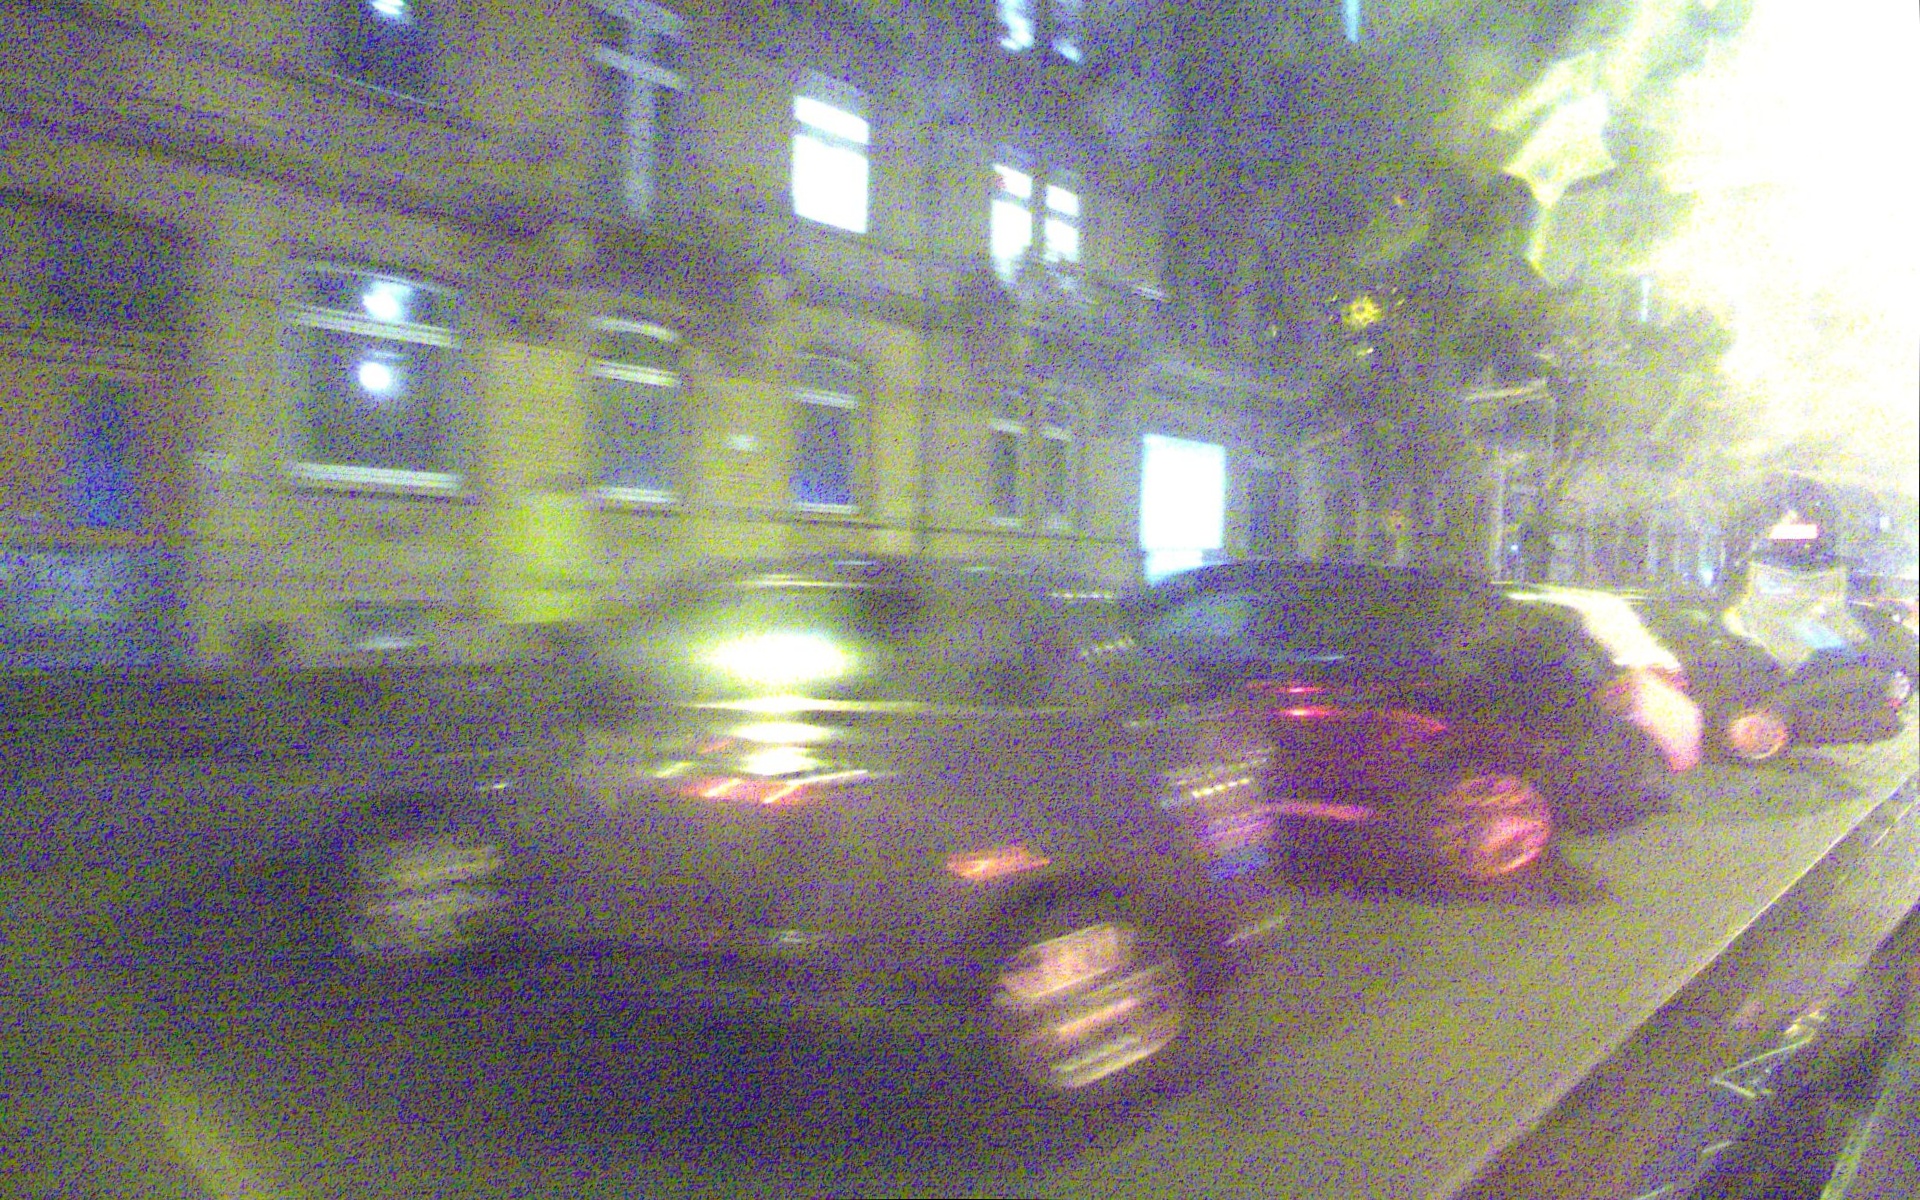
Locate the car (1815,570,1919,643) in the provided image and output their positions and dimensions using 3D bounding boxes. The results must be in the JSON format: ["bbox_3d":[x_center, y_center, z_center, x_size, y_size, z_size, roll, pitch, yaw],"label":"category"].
[{"bbox_3d":[26.603,0.220,27.885,4.186,1.881,1.710,3,3,14],"label":"car"}]

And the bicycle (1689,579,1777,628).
[{"bbox_3d":[24.377,0.091,31.958,0.767,1.351,1.980,1,4,-34],"label":"bicycle"}]

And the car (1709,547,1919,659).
[{"bbox_3d":[19.759,0.048,22.345,4.656,2.275,1.939,2,2,14],"label":"car"}]

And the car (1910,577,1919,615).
[{"bbox_3d":[61.369,-0.146,61.374,4.872,2.369,2.221,2,2,16],"label":"car"}]

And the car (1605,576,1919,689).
[{"bbox_3d":[13.250,0.465,16.612,3.939,1.571,1.994,2,2,12],"label":"car"}]

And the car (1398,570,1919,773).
[{"bbox_3d":[6.189,0.540,9.362,3.631,1.478,1.597,3,2,15],"label":"car"}]

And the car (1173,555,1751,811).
[{"bbox_3d":[3.604,0.489,7.836,3.610,1.600,1.581,1,1,22],"label":"car"}]

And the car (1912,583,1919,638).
[{"bbox_3d":[31.972,0.355,30.950,3.753,1.750,1.731,0,0,19],"label":"car"}]

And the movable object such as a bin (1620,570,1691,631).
[{"bbox_3d":[18.384,0.003,26.755,0.981,1.468,1.212,0,6,-40],"label":"movable object such as a bin"}]

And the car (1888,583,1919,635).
[{"bbox_3d":[35.025,0.315,34.869,4.059,1.787,1.845,1,1,22],"label":"car"}]

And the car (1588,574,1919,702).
[{"bbox_3d":[11.621,0.477,14.582,3.943,1.571,1.797,2,2,15],"label":"car"}]

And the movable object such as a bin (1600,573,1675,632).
[{"bbox_3d":[17.418,0.049,26.037,0.981,1.388,1.259,0,6,-40],"label":"movable object such as a bin"}]

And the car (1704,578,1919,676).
[{"bbox_3d":[15.928,0.461,18.311,3.608,1.560,1.550,2,2,20],"label":"car"}]

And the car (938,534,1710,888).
[{"bbox_3d":[1.797,0.473,5.769,3.595,1.600,1.588,1,1,11],"label":"car"}]

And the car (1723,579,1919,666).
[{"bbox_3d":[17.748,0.429,20.401,3.350,1.560,1.572,2,2,14],"label":"car"}]

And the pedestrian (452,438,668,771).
[{"bbox_3d":[-2.514,0.000,6.357,0.976,1.878,0.870,0,3,-43],"label":"pedestrian"}]

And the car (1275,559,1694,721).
[{"bbox_3d":[5.771,0.360,11.689,3.945,1.469,1.680,4,3,16],"label":"car"}]

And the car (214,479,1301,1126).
[{"bbox_3d":[-0.694,0.453,3.870,3.602,1.600,1.585,3,2,15],"label":"car"}]
